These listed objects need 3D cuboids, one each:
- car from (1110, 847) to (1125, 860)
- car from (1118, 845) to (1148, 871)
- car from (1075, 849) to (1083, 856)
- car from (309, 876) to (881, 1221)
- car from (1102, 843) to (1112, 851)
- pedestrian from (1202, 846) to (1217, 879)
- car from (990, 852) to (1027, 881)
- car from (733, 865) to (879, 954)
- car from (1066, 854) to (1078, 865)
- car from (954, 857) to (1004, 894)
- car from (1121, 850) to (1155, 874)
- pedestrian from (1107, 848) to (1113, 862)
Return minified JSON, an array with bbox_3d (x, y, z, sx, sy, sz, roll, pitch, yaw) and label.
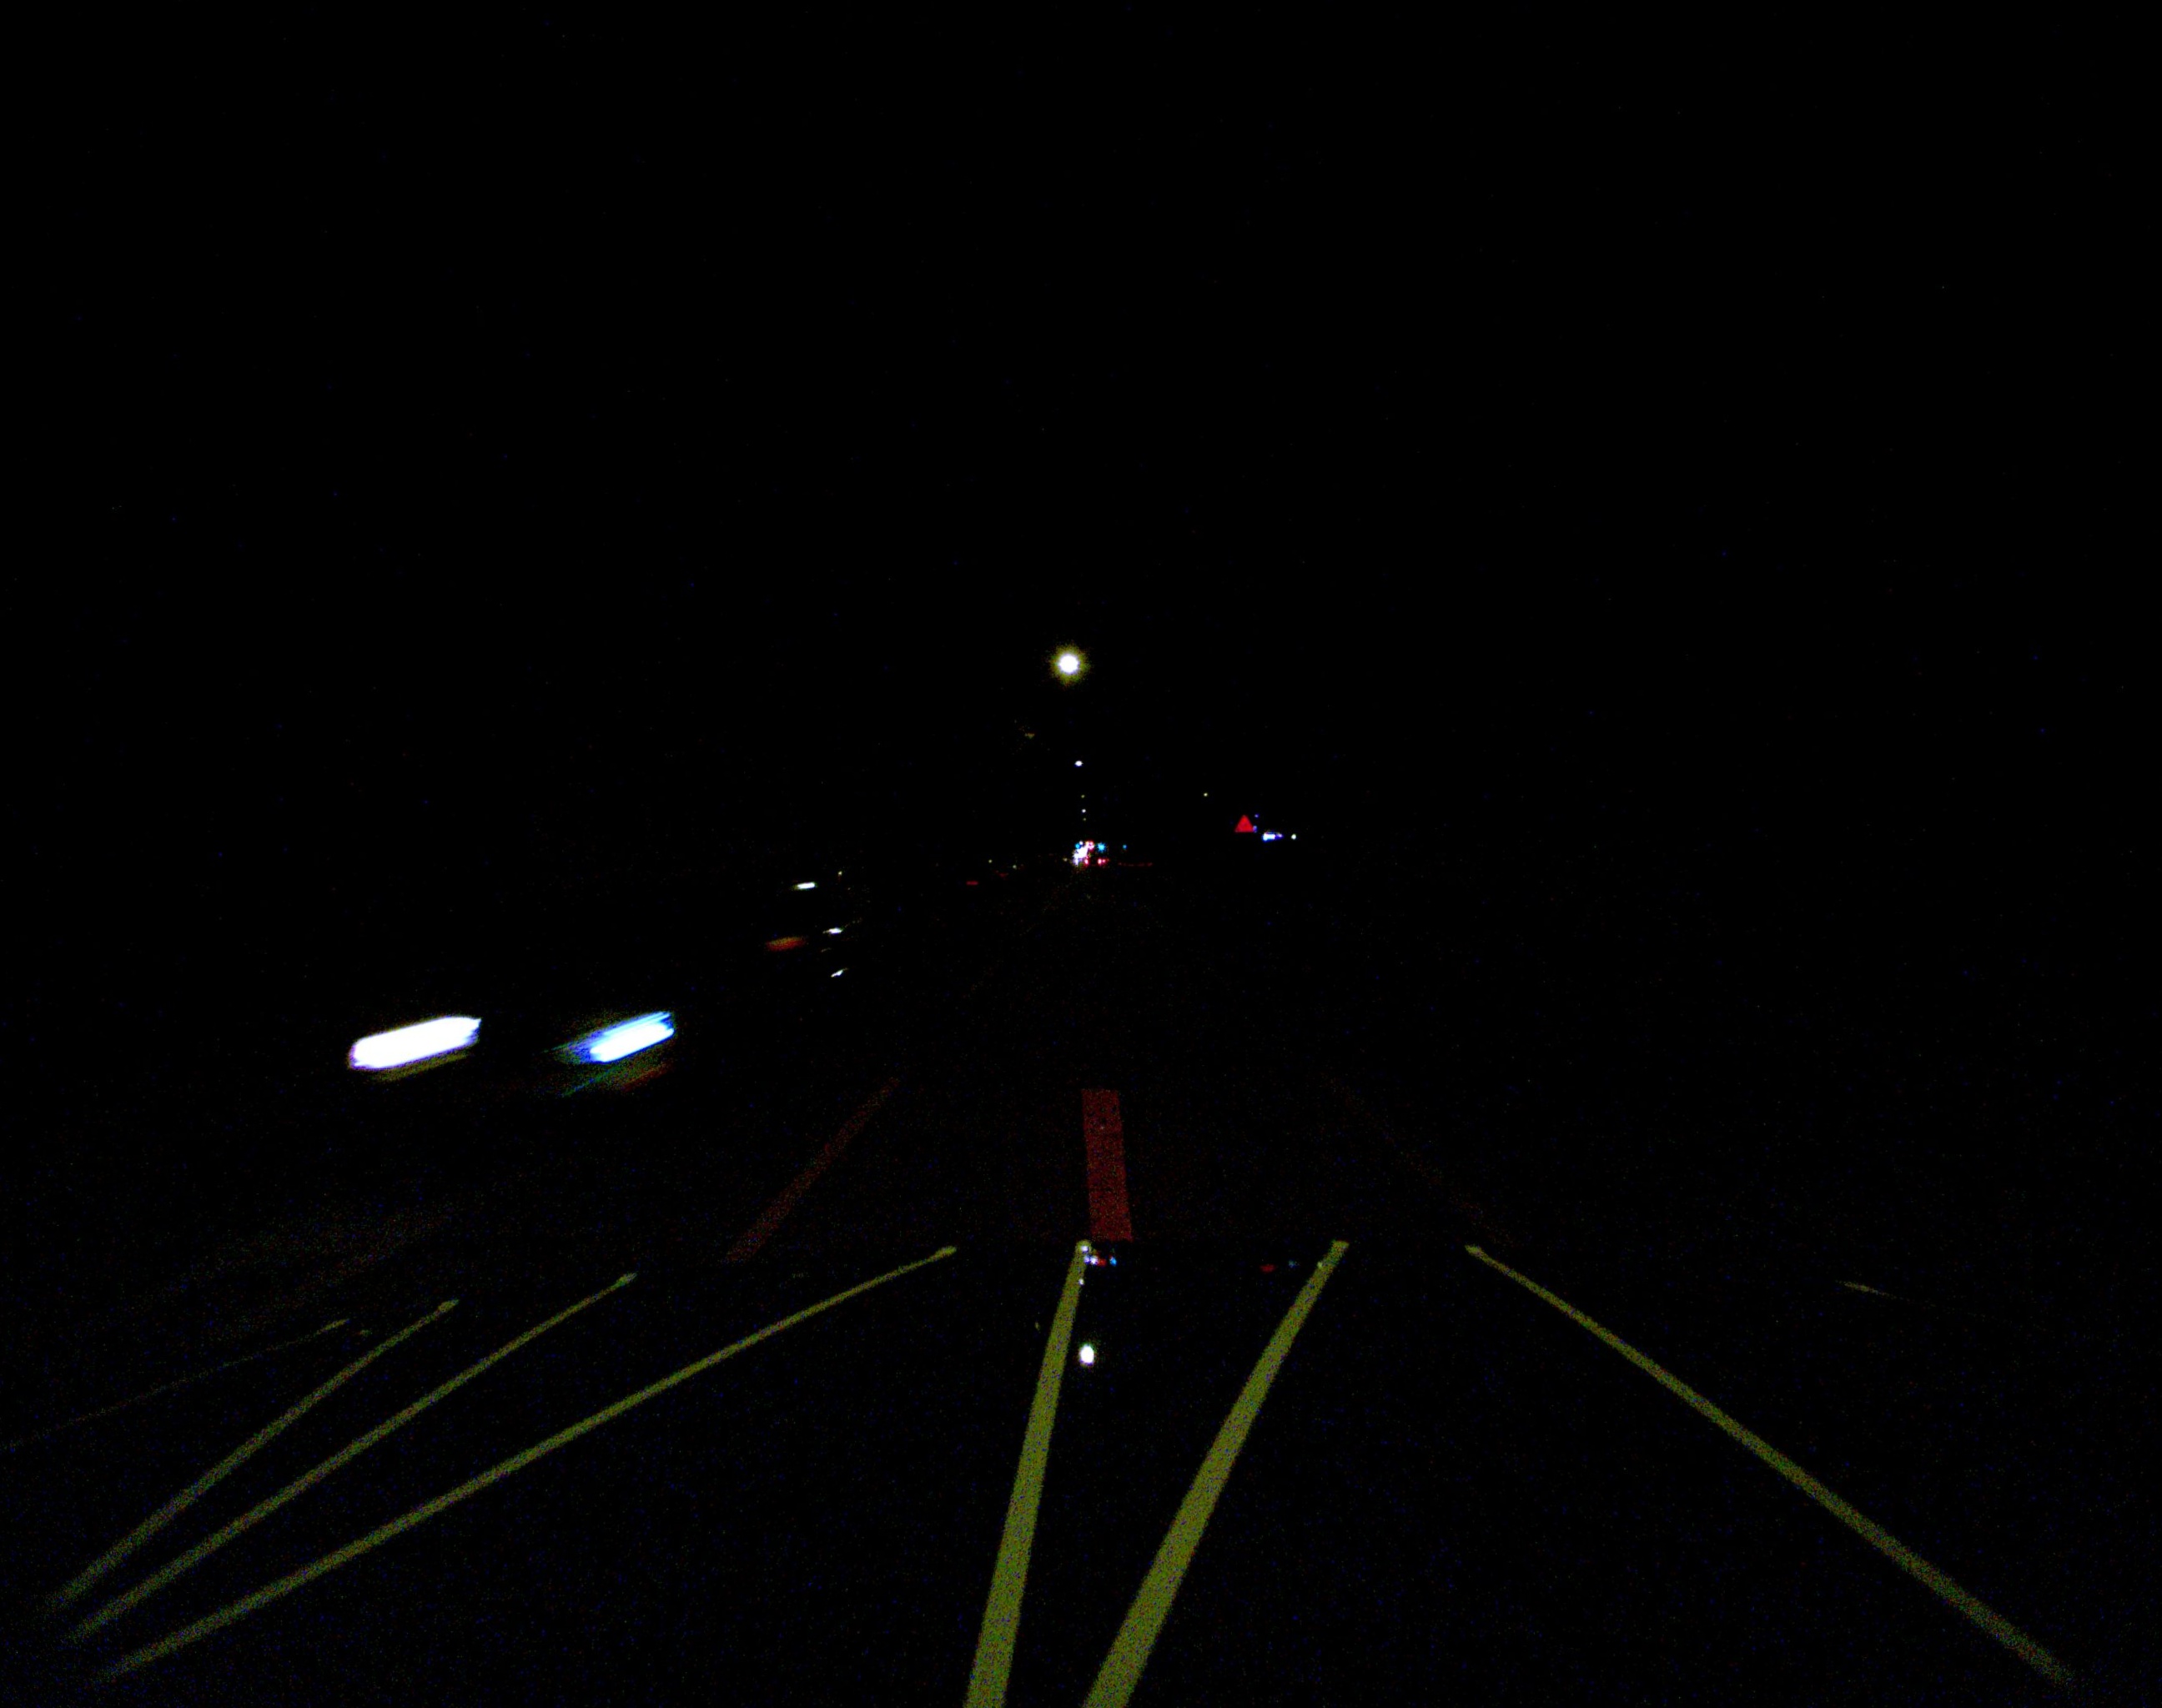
[{"bbox_3d":[4.806,-0.045,101.583,1.755,1.433,3.487,-2,-2,0],"label":"car"},{"bbox_3d":[3.896,0.285,57.198,1.998,1.772,3.999,-2,1,1],"label":"car"},{"bbox_3d":[-0.468,-0.329,185.443,1.998,1.740,3.999,-2,1,1],"label":"car"},{"bbox_3d":[-2.920,1.023,5.769,1.780,1.477,3.999,-2,1,-1],"label":"car"},{"bbox_3d":[5.341,-1.486,153.841,1.903,1.581,3.661,-2,1,2],"label":"car"},{"bbox_3d":[6.963,0.473,41.068,0.673,1.750,0.500,-2,1,1],"label":"pedestrian"},{"bbox_3d":[-4.463,0.748,47.474,1.852,1.643,4.179,-2,0,0],"label":"car"},{"bbox_3d":[-5.311,1.008,15.134,1.611,1.500,3.486,0,0,1],"label":"car"},{"bbox_3d":[-1.540,0.941,134.880,1.998,1.718,3.803,-2,1,1],"label":"car"},{"bbox_3d":[-4.472,0.902,33.941,1.742,1.489,3.890,-1,0,-1],"label":"car"},{"bbox_3d":[3.887,0.509,52.075,1.998,1.477,3.999,-3,1,1],"label":"car"},{"bbox_3d":[4.495,0.161,117.982,0.804,2.002,0.940,-2,1,1],"label":"pedestrian"}]
